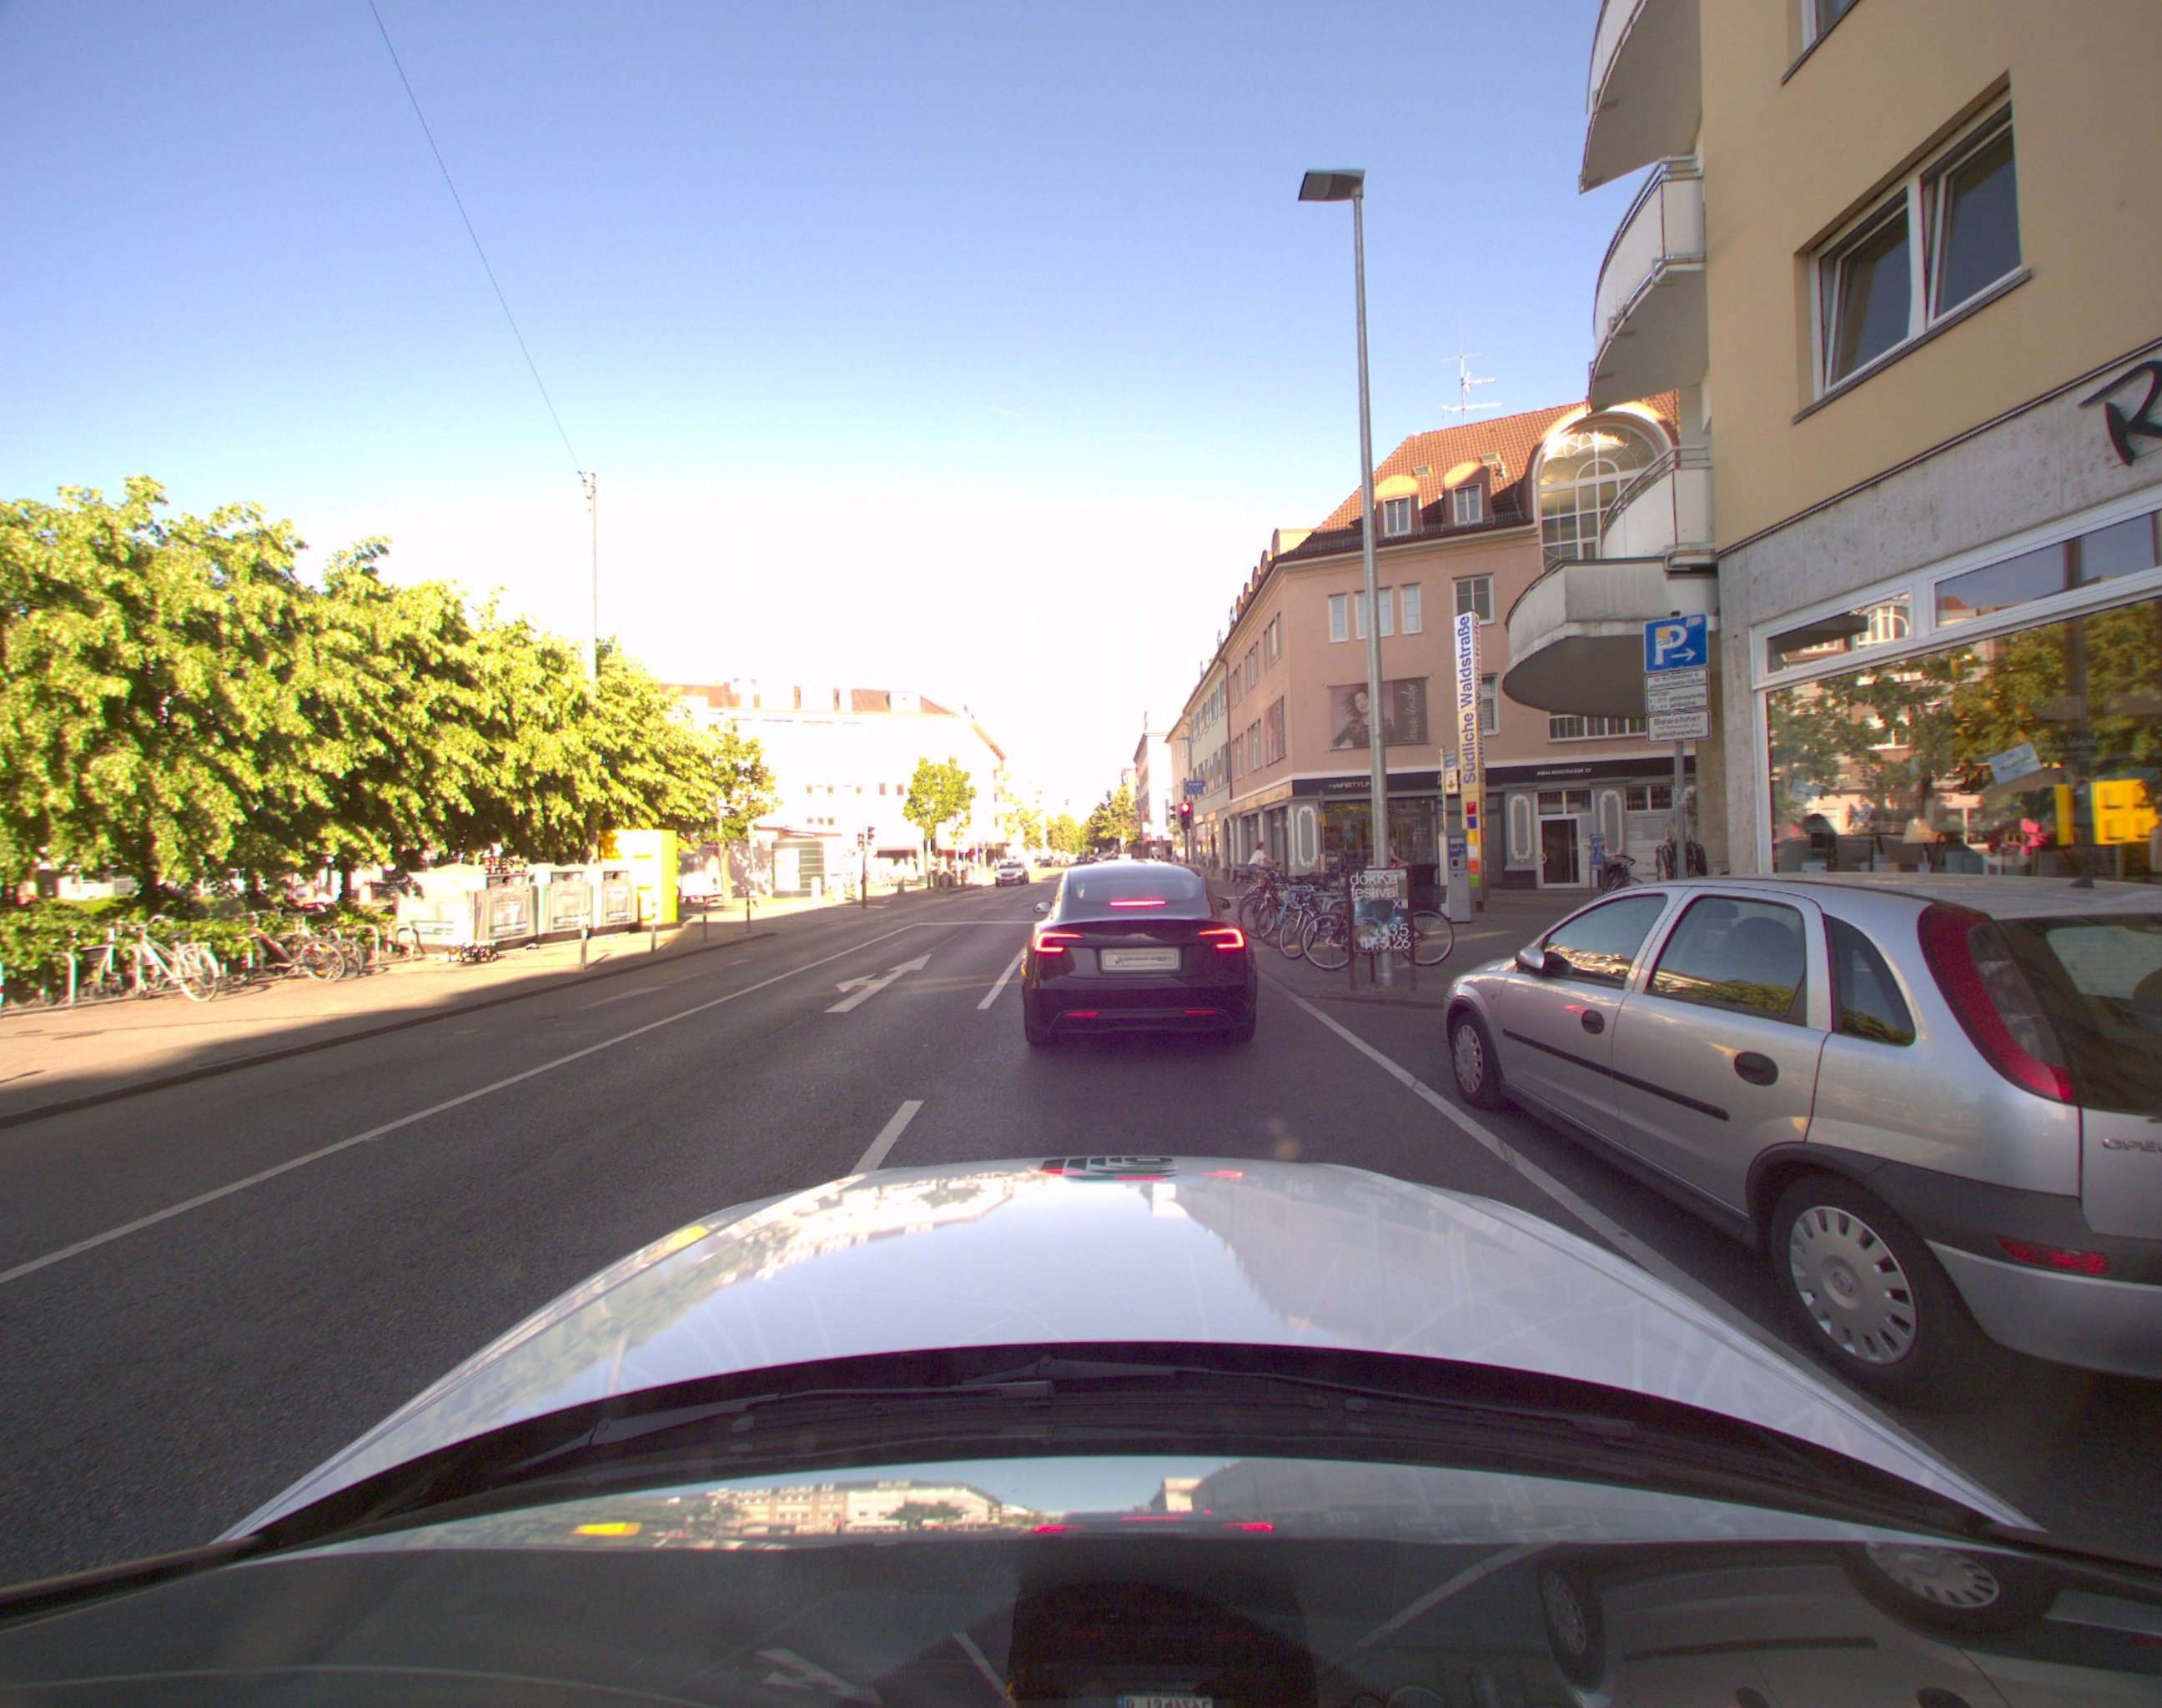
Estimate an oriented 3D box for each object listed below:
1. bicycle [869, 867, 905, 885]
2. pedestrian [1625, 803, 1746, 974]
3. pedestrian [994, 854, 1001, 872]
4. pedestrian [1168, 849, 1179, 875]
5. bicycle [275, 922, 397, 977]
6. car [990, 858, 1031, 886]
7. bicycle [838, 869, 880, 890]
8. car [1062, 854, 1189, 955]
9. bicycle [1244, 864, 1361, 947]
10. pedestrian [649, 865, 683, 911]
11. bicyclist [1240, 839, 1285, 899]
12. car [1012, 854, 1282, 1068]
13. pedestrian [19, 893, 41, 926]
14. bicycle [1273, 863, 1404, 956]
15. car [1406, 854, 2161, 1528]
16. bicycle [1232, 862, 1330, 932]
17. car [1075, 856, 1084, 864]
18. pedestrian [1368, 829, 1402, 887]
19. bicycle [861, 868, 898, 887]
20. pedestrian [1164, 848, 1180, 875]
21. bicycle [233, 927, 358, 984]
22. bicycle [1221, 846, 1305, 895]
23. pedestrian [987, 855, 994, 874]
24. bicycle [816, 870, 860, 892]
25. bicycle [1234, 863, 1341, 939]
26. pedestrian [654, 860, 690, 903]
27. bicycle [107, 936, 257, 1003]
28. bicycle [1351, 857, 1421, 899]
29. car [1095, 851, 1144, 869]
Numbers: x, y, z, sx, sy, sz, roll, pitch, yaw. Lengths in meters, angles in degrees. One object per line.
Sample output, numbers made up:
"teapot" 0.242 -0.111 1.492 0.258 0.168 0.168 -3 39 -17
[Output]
"bicycle" -12.520 1.446 52.616 2.075 1.104 0.806 -1 0 1
"pedestrian" 6.121 0.344 8.282 0.659 1.633 0.629 -4 -1 6
"pedestrian" -9.241 0.971 90.466 0.623 2.014 0.575 -1 0 1
"pedestrian" 6.501 0.553 57.356 0.701 1.783 0.534 -1 0 1
"bicycle" -11.252 1.442 12.321 1.466 0.769 0.475 -1 -1 4
"car" -4.447 1.093 51.710 1.986 1.541 4.002 -5 0 2
"bicycle" -12.431 1.436 45.640 2.075 1.104 0.806 -1 0 1
"car" 0.745 0.754 13.910 1.842 1.455 3.788 -1 0 3
"bicycle" 3.394 0.780 12.514 1.622 1.160 0.433 -3 0 0
"pedestrian" -15.975 1.306 31.352 0.897 1.725 0.745 -1 0 5
"bicyclist" 4.916 0.412 22.070 1.088 1.589 0.631 -1 0 18
"car" 0.541 0.746 7.542 1.842 1.455 3.788 -1 0 3
"pedestrian" -58.129 3.063 45.044 0.576 1.792 0.604 -1 -1 19
"bicycle" 3.546 0.758 11.274 1.622 1.160 0.433 -3 0 0
"car" 2.972 0.717 3.650 1.615 1.394 3.888 -1 0 3
"bicycle" 3.620 0.766 14.794 1.621 1.160 0.433 -3 0 2
"car" -0.334 1.320 190.225 1.824 1.724 4.000 -1 0 0
"pedestrian" 7.776 0.105 20.845 0.738 1.440 0.584 -1 -1 14
"bicycle" -12.478 1.476 50.419 2.075 1.104 0.806 -1 0 1
"pedestrian" 6.398 0.502 57.316 0.995 1.850 0.615 -1 0 1
"bicycle" -11.325 1.457 11.750 1.465 0.769 0.442 -1 -1 6
"bicycle" 4.931 0.450 22.071 2.108 1.200 0.631 -4 -1 17
"pedestrian" -10.052 1.167 90.425 0.623 2.014 0.707 -1 0 1
"bicycle" -12.848 1.447 43.128 2.075 1.104 0.806 -1 0 1
"bicycle" 3.445 0.778 13.610 1.622 1.160 0.433 -3 0 0
"pedestrian" -16.034 1.065 31.966 0.981 1.636 0.738 -1 0 5
"bicycle" -11.424 1.451 10.358 1.645 0.769 0.476 -1 -1 10
"bicycle" 7.781 0.606 20.829 1.604 1.045 0.593 -1 -1 14
"car" 3.953 0.620 83.308 4.593 1.727 2.070 -1 0 37
